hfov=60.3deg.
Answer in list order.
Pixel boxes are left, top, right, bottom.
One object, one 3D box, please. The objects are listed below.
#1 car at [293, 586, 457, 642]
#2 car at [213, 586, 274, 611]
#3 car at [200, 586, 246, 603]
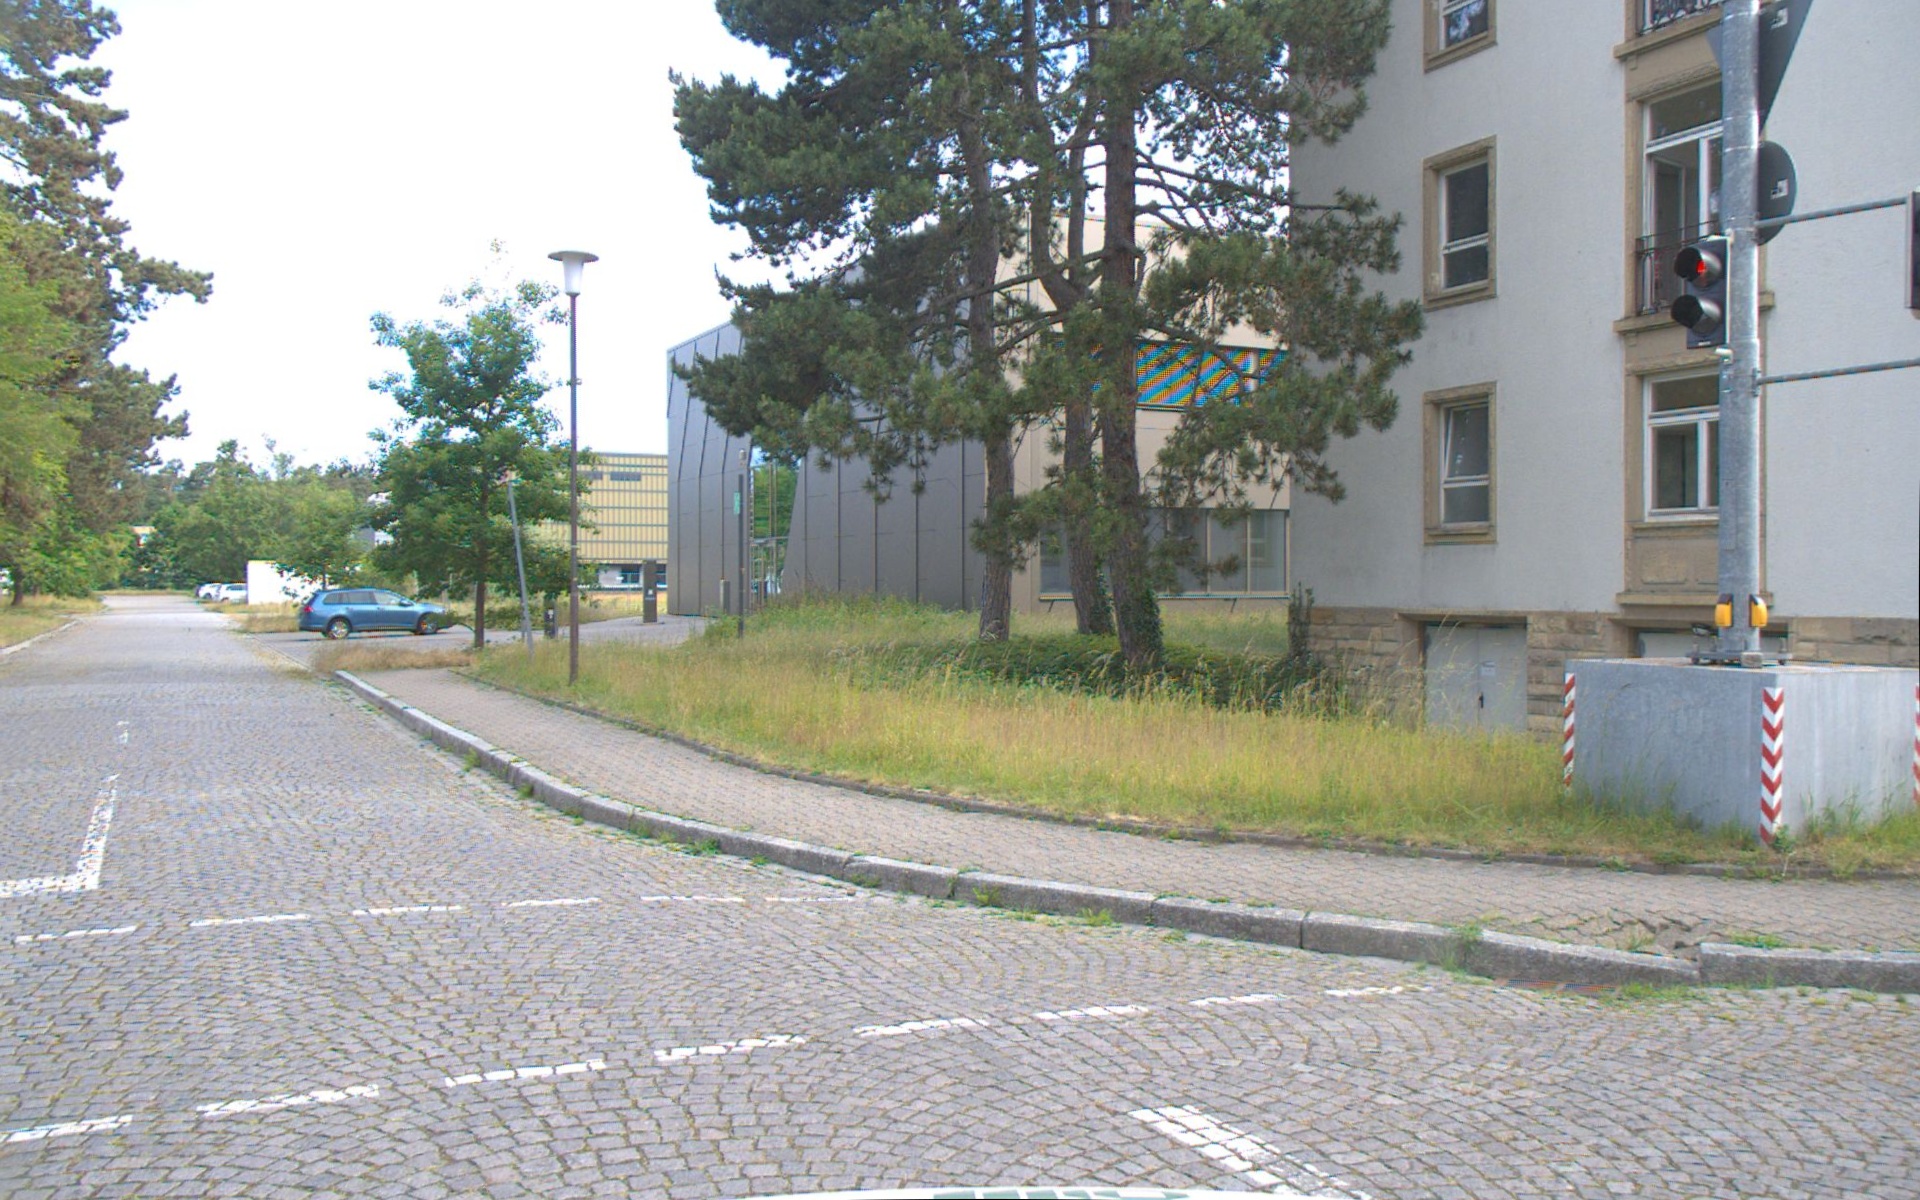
[{"bbox_3d":[-17.901,0.394,50.692,4.475,1.468,1.805,-3,2,-30],"label":"car"},{"bbox_3d":[-50.241,-0.127,116.051,3.808,1.683,1.670,-1,0,-30],"label":"car"},{"bbox_3d":[-70.102,-0.519,157.284,3.975,1.528,1.535,-1,0,-26],"label":"car"}]
